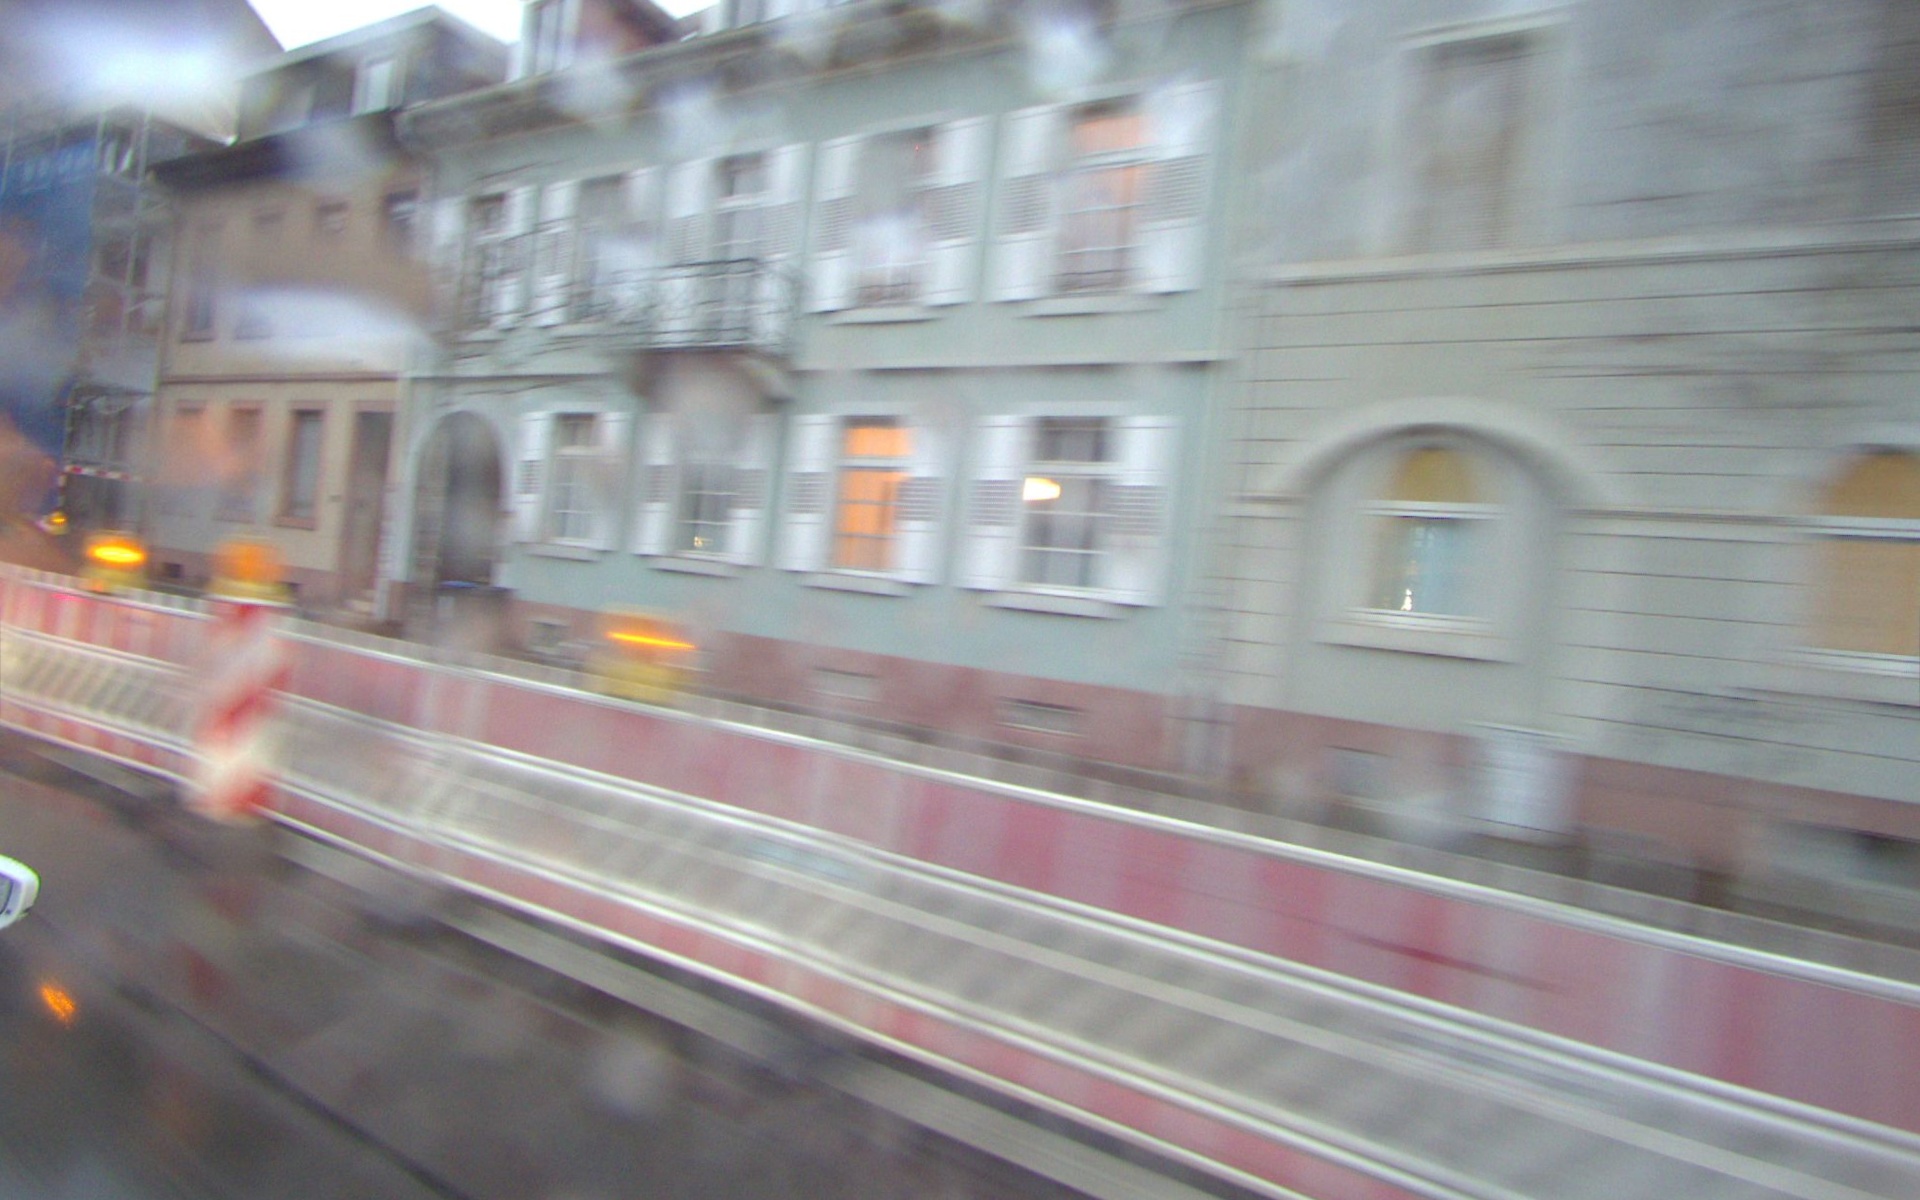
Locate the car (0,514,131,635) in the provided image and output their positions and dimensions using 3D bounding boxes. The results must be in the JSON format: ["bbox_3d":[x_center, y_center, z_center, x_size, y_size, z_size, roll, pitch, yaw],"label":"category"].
[{"bbox_3d":[-13.207,-0.438,12.920,1.875,1.535,4.093,7,-2,-6],"label":"car"}]
